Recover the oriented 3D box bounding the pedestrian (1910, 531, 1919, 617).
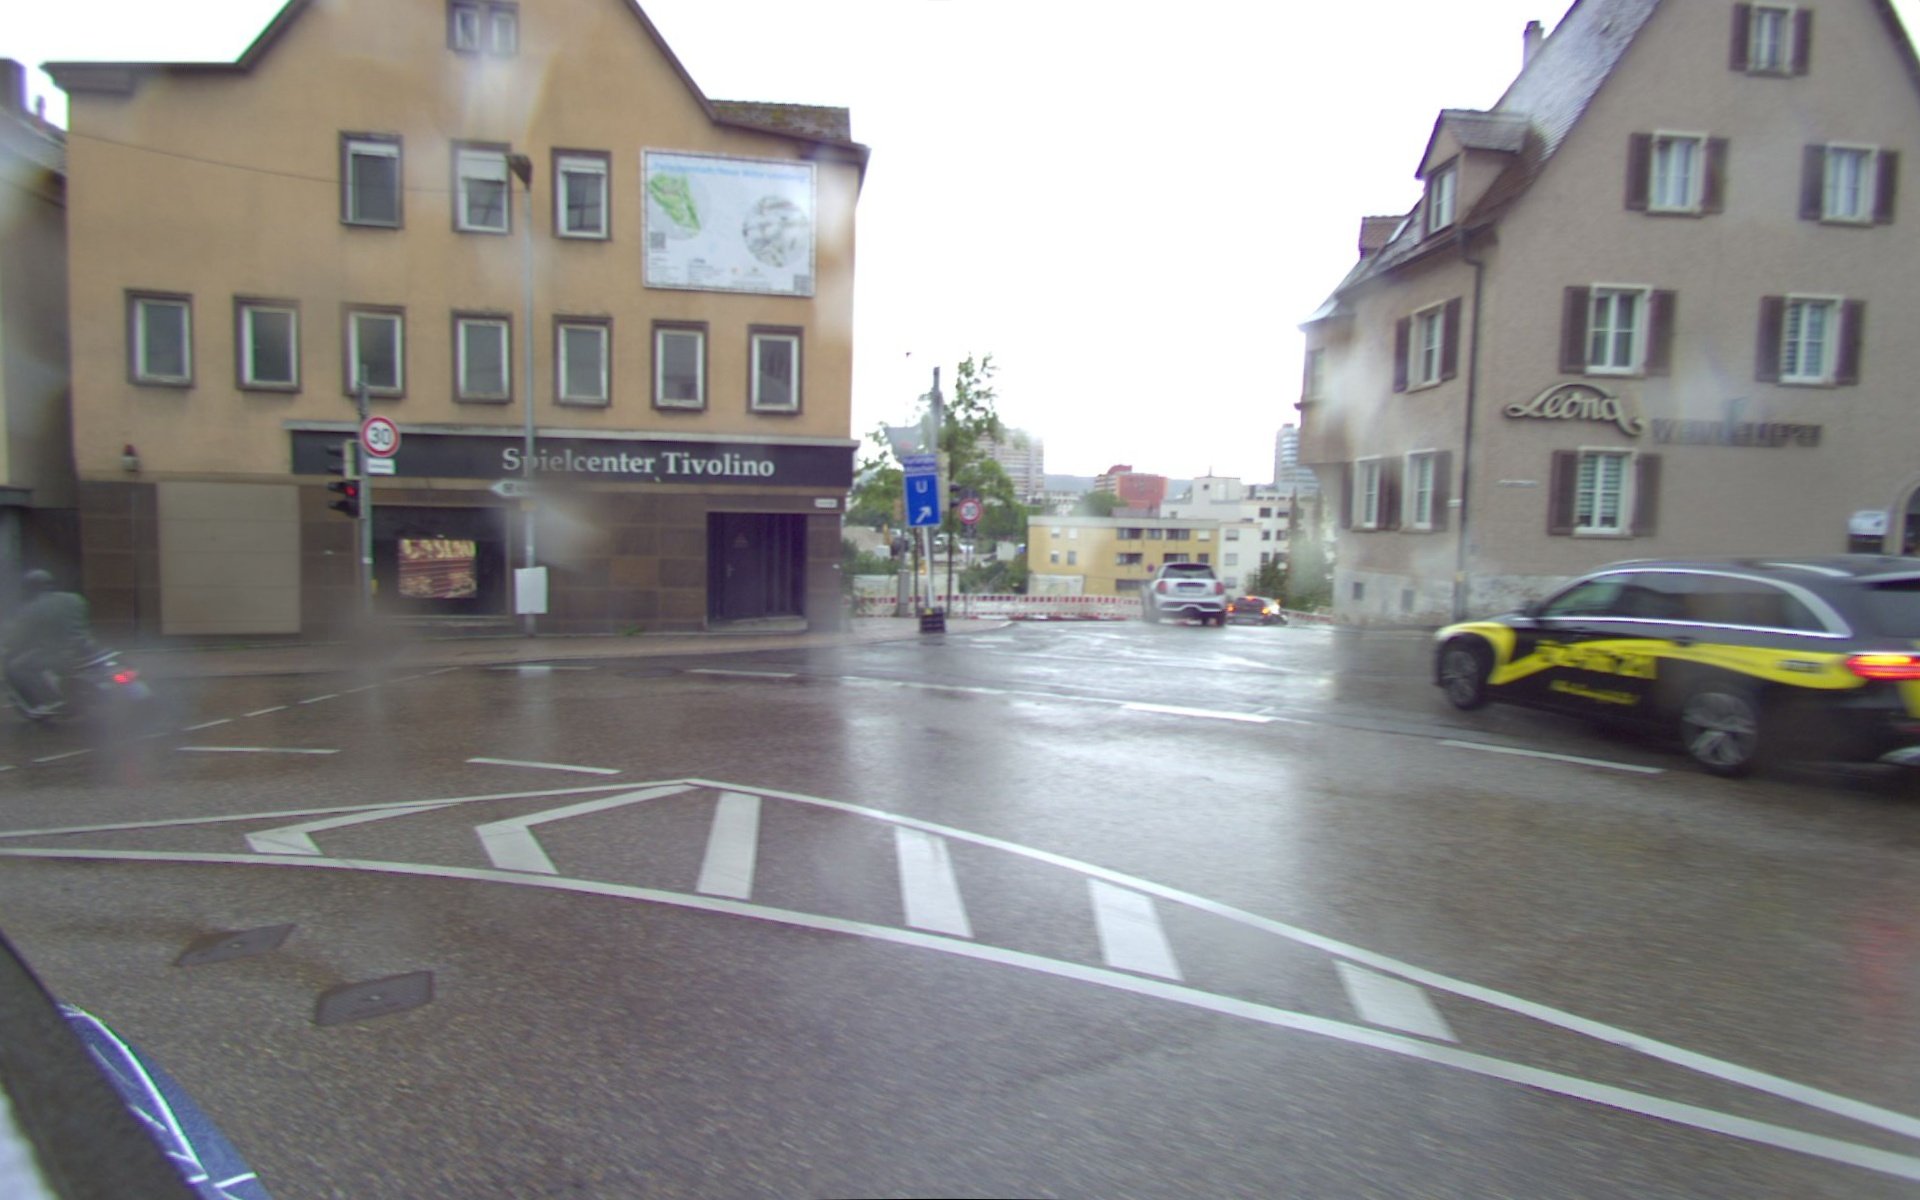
[{"bbox_3d":[19.721,-0.505,20.366,0.530,1.741,0.556,1,4,1],"label":"pedestrian"}]

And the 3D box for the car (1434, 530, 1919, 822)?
[{"bbox_3d":[5.823,0.275,7.712,1.969,1.550,4.421,-2,3,-6],"label":"car"}]

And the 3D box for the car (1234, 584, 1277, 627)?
[{"bbox_3d":[11.769,0.246,40.180,1.522,1.488,3.370,-2,-4,18],"label":"car"}]

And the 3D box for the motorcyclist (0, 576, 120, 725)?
[{"bbox_3d":[-9.057,0.479,10.031,0.661,1.363,0.809,0,5,9],"label":"motorcyclist"}]

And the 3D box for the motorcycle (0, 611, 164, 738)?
[{"bbox_3d":[-9.114,0.719,10.075,1.896,1.139,0.768,-1,4,11],"label":"motorcycle"}]

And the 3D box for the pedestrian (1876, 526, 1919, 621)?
[{"bbox_3d":[18.961,-0.533,20.164,0.702,1.844,0.801,-2,1,-24],"label":"pedestrian"}]

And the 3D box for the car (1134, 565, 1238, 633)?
[{"bbox_3d":[5.276,-0.060,24.102,1.976,1.442,3.992,1,1,7],"label":"car"}]

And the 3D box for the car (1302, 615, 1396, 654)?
[{"bbox_3d":[18.392,1.590,47.781,4.671,1.600,1.834,-2,1,-36],"label":"car"}]
